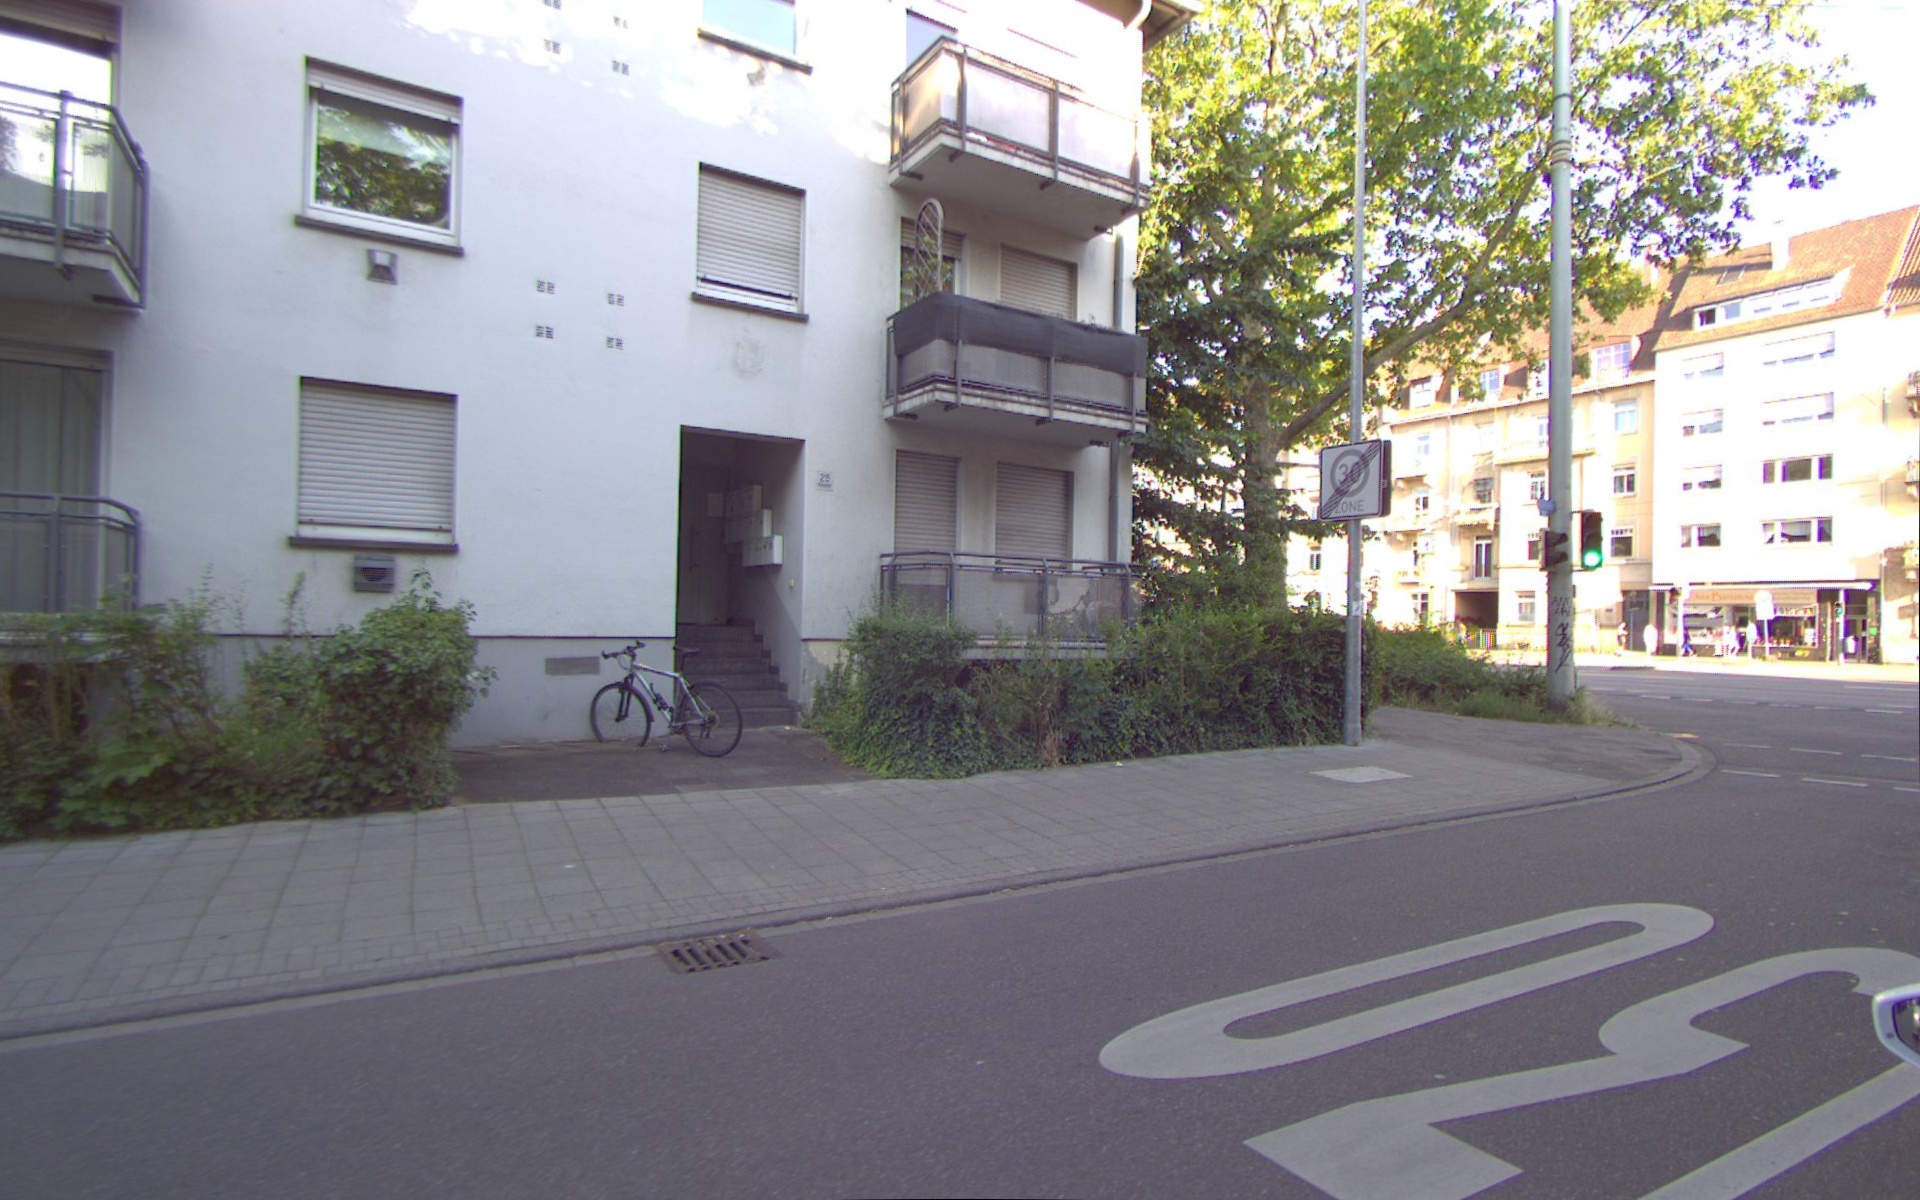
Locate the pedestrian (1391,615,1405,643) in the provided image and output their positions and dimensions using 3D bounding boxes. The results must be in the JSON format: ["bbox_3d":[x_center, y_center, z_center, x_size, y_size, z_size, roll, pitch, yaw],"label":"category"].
[{"bbox_3d":[28.840,1.914,66.128,0.633,1.862,0.473,2,0,-30],"label":"pedestrian"}]

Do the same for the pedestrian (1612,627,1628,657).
[{"bbox_3d":[34.908,2.218,53.143,0.463,1.584,0.559,2,0,-36],"label":"pedestrian"}]

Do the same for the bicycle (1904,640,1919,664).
[{"bbox_3d":[42.686,2.303,44.056,0.488,1.042,1.796,1,-1,-33],"label":"bicycle"}]

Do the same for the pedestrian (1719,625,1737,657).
[{"bbox_3d":[38.480,2.052,50.324,0.463,1.584,0.559,2,0,-36],"label":"pedestrian"}]

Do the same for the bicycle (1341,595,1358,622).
[{"bbox_3d":[26.099,0.562,67.284,0.553,1.760,0.882,2,0,-28],"label":"bicycle"}]

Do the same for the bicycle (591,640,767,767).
[{"bbox_3d":[-2.669,0.948,9.531,1.577,1.033,0.477,3,0,20],"label":"bicycle"}]

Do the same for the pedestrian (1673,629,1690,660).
[{"bbox_3d":[36.929,2.271,51.387,0.463,1.584,0.559,2,0,-36],"label":"pedestrian"}]
